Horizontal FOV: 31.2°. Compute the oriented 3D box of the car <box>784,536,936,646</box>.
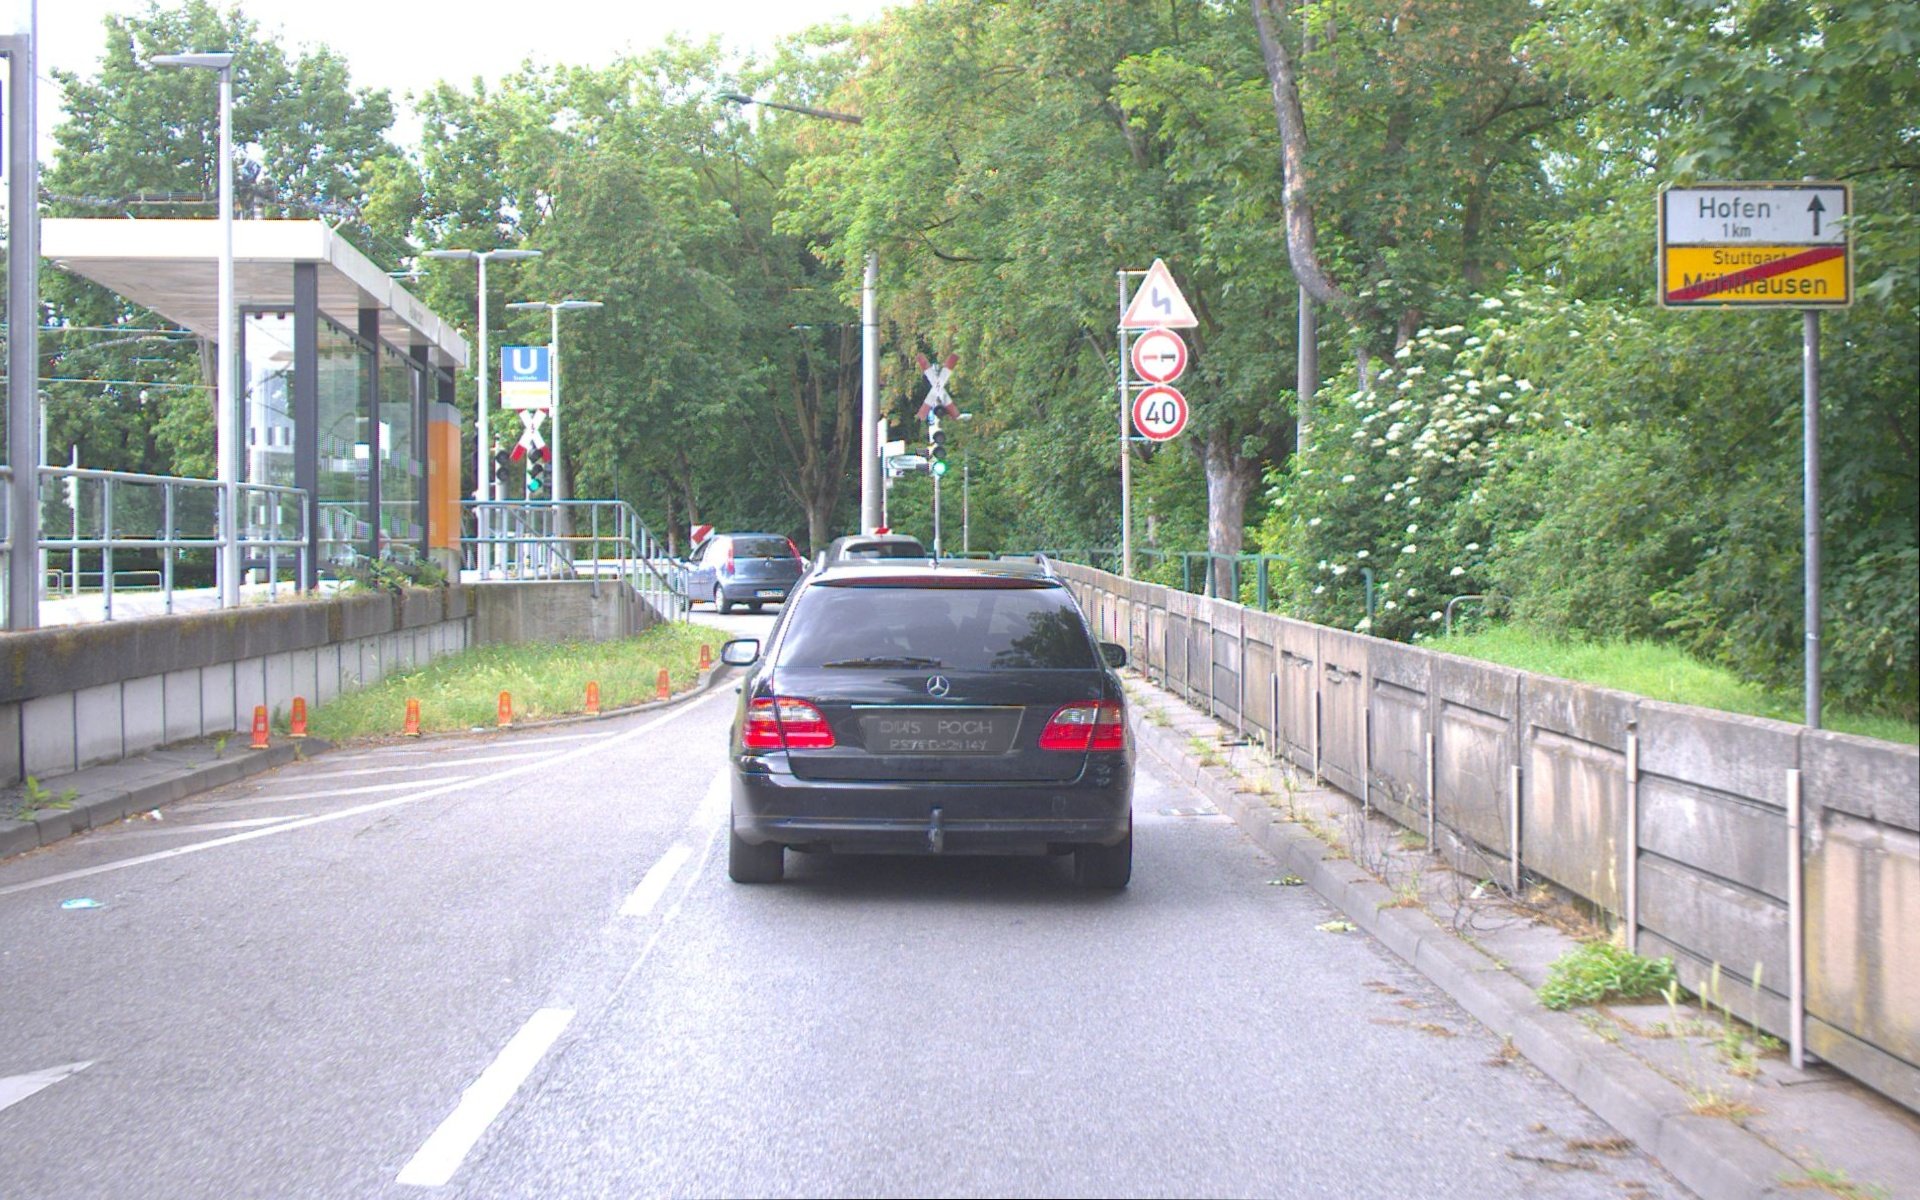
[{"bbox_3d":[-1.599,-0.155,53.639,1.781,1.642,4.001,0,1,-10],"label":"car"}]

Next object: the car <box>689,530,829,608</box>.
[{"bbox_3d":[-3.766,-0.603,63.796,1.993,1.394,4.001,0,1,-12],"label":"car"}]

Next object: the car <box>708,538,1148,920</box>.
[{"bbox_3d":[-0.156,0.498,16.211,1.782,1.520,4.000,1,1,-1],"label":"car"}]
